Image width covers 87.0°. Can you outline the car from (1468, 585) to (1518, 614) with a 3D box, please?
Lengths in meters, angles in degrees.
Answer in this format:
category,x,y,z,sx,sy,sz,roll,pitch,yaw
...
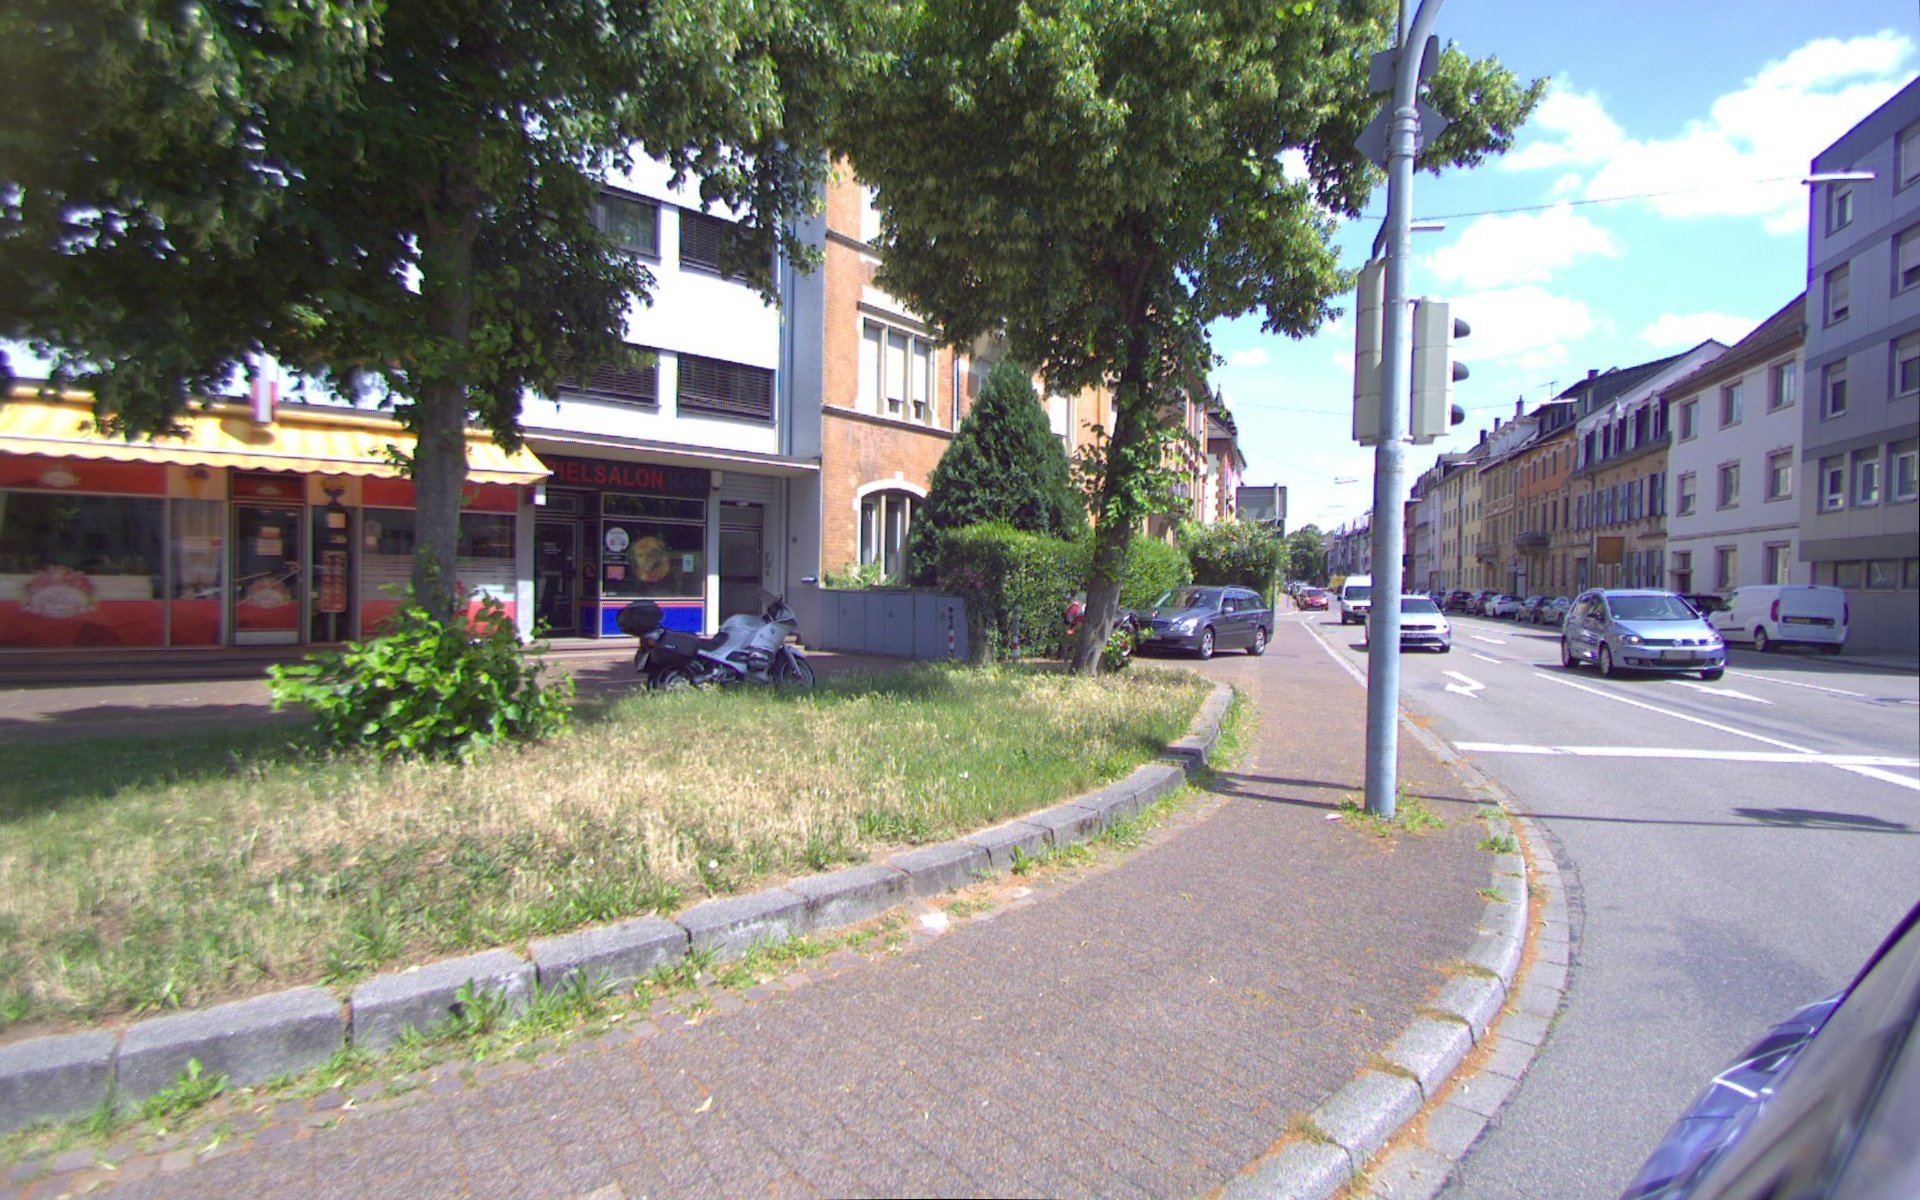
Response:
category,x,y,z,sx,sy,sz,roll,pitch,yaw
car,33.957,-0.068,64.609,1.845,1.647,4.478,4,2,16

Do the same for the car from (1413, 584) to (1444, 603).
category,x,y,z,sx,sy,sz,roll,pitch,yaw
car,41.957,-0.602,90.685,1.846,1.570,4.290,5,2,17

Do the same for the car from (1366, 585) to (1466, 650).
category,x,y,z,sx,sy,sz,roll,pitch,yaw
car,11.995,0.388,26.896,1.881,1.516,4.463,1,1,17

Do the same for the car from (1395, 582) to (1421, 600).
category,x,y,z,sx,sy,sz,roll,pitch,yaw
car,45.046,-0.917,101.735,1.739,1.607,3.905,5,3,33

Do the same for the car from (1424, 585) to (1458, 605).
category,x,y,z,sx,sy,sz,roll,pitch,yaw
car,40.087,-0.413,84.446,1.886,1.469,4.660,5,2,17

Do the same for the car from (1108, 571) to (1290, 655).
category,x,y,z,sx,sy,sz,roll,pitch,yaw
car,5.223,0.261,21.594,1.830,1.568,5.085,2,0,38

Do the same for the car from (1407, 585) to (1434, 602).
category,x,y,z,sx,sy,sz,roll,pitch,yaw
car,43.316,-0.624,95.263,1.728,1.428,3.892,5,2,18

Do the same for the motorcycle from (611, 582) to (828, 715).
category,x,y,z,sx,sy,sz,roll,pitch,yaw
motorcycle,-2.636,0.475,11.273,2.188,1.329,0.916,-1,0,-43

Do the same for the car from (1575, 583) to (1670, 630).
category,x,y,z,sx,sy,sz,roll,pitch,yaw
car,26.243,0.211,40.272,1.866,1.661,4.790,2,2,18

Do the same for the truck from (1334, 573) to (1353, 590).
category,x,y,z,sx,sy,sz,roll,pitch,yaw
truck,65.210,-3.162,172.190,2.293,2.774,8.027,1,1,16

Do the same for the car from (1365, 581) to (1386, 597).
category,x,y,z,sx,sy,sz,roll,pitch,yaw
car,44.321,-1.215,108.109,1.684,1.594,4.287,1,1,18

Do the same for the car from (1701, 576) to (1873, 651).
category,x,y,z,sx,sy,sz,roll,pitch,yaw
car,22.931,0.297,28.328,1.893,1.848,4.765,2,2,16

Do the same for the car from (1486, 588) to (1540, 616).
category,x,y,z,sx,sy,sz,roll,pitch,yaw
car,32.592,0.082,59.745,1.846,1.443,4.308,5,2,17

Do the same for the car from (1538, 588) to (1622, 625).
category,x,y,z,sx,sy,sz,roll,pitch,yaw
car,28.498,0.256,46.686,1.844,1.423,4.816,4,2,15

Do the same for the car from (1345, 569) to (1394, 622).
category,x,y,z,sx,sy,sz,roll,pitch,yaw
car,18.865,-0.268,46.802,1.883,2.302,5.634,1,1,20

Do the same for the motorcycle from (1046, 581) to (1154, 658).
category,x,y,z,sx,sy,sz,roll,pitch,yaw
motorcycle,2.623,0.349,18.702,0.929,1.319,2.248,2,0,39

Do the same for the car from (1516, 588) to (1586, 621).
category,x,y,z,sx,sy,sz,roll,pitch,yaw
car,30.095,0.202,51.676,1.844,1.423,4.313,4,2,14

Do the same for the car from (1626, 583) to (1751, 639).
category,x,y,z,sx,sy,sz,roll,pitch,yaw
car,24.414,0.309,34.137,1.865,1.661,4.640,2,2,16

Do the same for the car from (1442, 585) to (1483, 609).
category,x,y,z,sx,sy,sz,roll,pitch,yaw
car,37.391,-0.274,75.384,1.845,1.570,4.478,4,2,16

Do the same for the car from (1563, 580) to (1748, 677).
category,x,y,z,sx,sy,sz,roll,pitch,yaw
car,12.691,0.430,18.757,1.736,1.588,3.977,0,1,18

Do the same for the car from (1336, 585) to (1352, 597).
category,x,y,z,sx,sy,sz,roll,pitch,yaw
car,52.724,-1.231,138.935,1.741,1.513,4.224,1,1,16

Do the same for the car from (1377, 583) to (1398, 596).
category,x,y,z,sx,sy,sz,roll,pitch,yaw
car,52.382,-1.334,124.109,1.725,1.428,4.087,4,2,14

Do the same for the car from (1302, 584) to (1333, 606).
category,x,y,z,sx,sy,sz,roll,pitch,yaw
car,25.491,-0.370,72.318,1.737,1.497,3.767,-1,1,15
